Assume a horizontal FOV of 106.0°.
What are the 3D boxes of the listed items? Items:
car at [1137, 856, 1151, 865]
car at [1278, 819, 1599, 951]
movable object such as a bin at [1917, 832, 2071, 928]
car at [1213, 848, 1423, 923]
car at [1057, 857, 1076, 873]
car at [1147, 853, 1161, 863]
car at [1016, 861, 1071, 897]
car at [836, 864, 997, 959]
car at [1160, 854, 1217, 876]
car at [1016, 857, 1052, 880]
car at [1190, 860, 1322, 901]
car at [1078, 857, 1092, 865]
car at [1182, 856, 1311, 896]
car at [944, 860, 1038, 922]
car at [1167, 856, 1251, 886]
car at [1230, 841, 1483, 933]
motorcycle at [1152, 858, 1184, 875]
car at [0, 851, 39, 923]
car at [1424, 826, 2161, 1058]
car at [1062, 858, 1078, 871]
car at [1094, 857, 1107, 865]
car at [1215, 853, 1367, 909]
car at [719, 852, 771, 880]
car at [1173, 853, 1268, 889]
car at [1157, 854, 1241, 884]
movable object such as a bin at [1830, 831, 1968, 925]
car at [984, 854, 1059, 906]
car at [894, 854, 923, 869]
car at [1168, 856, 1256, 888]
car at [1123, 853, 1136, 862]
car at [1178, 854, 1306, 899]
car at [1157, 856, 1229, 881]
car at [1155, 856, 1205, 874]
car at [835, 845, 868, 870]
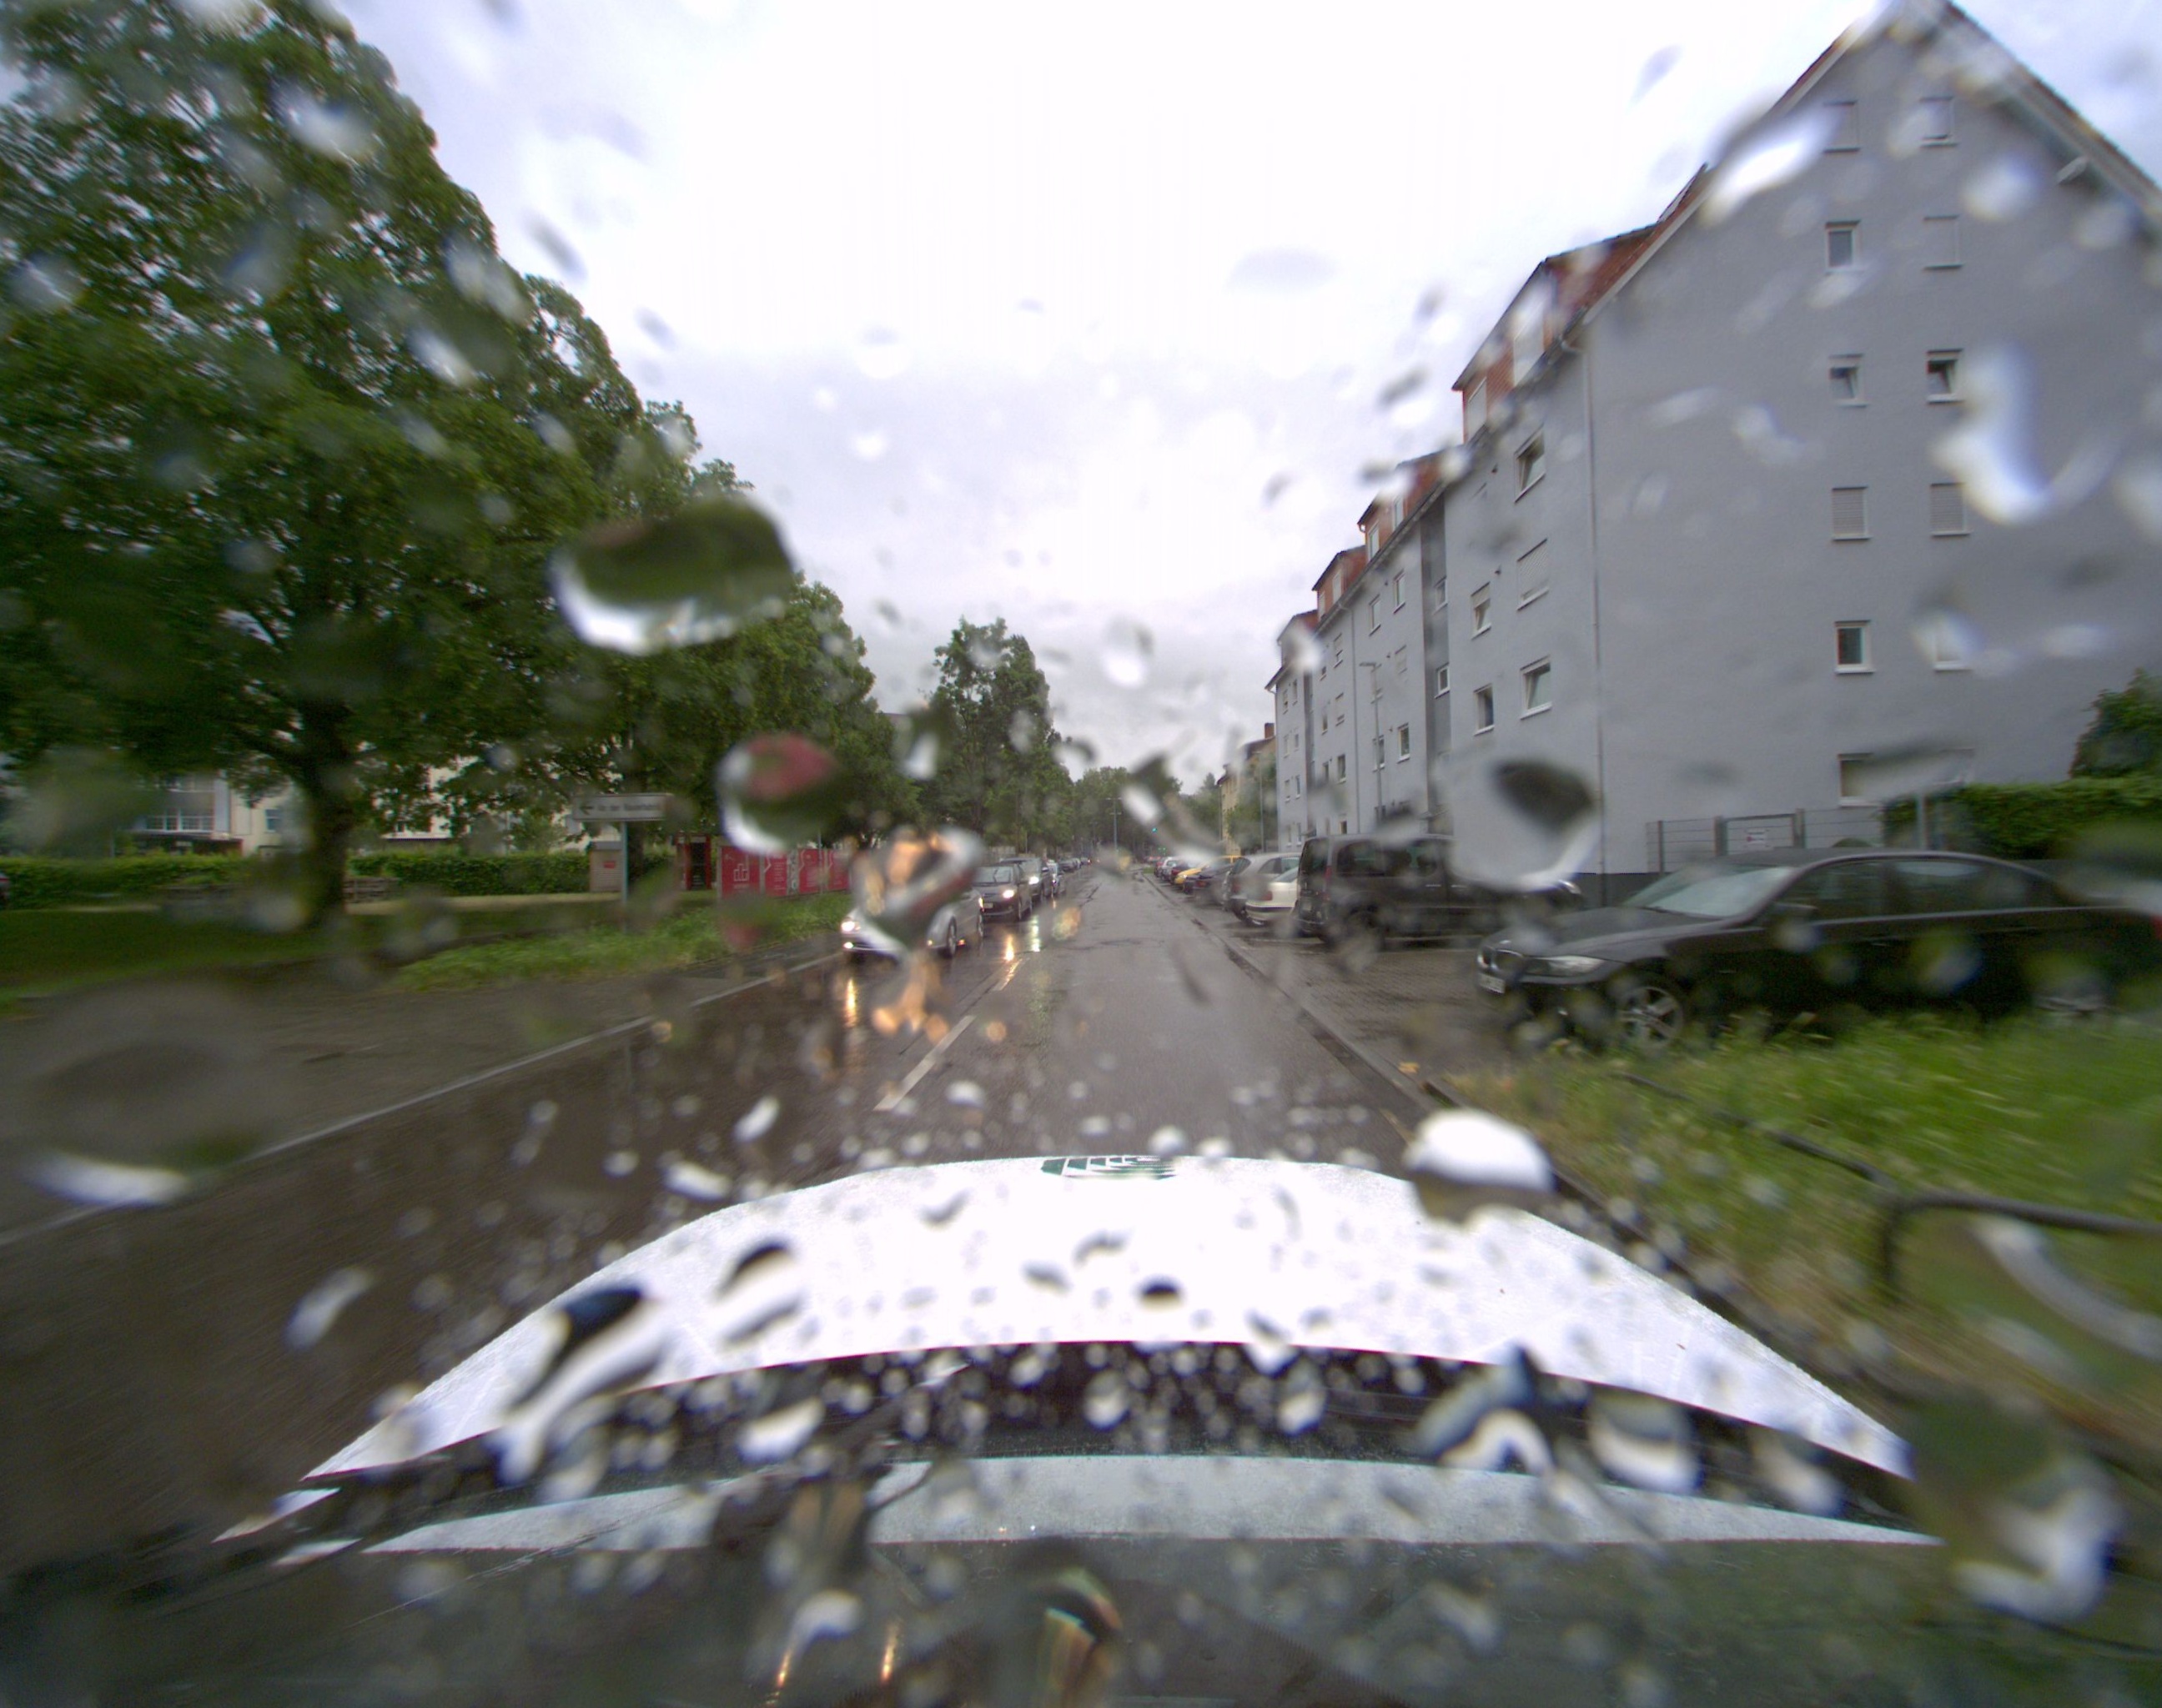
[{"bbox_3d":[11.112,1.094,143.584,1.847,1.524,4.145,-1,0,-6],"label":"car"},{"bbox_3d":[5.493,0.461,12.946,4.219,1.805,1.944,-2,-1,-1],"label":"car"},{"bbox_3d":[13.729,0.380,12.289,1.208,1.377,0.957,-1,0,9],"label":"movable object such as a bin"},{"bbox_3d":[5.150,0.669,18.128,4.166,1.572,1.891,0,-1,1],"label":"car"},{"bbox_3d":[-1.521,1.107,86.067,1.772,1.530,3.995,0,1,-4],"label":"car"},{"bbox_3d":[11.631,0.624,129.358,1.843,1.524,4.000,-1,0,1],"label":"car"},{"bbox_3d":[-1.536,1.011,34.572,1.664,1.383,4.259,-1,0,6],"label":"car"},{"bbox_3d":[-2.702,0.885,14.547,1.768,1.403,4.831,0,-1,1],"label":"car"},{"bbox_3d":[7.787,0.822,59.373,3.973,1.552,1.905,0,-1,1],"label":"car"},{"bbox_3d":[-3.004,0.911,52.366,1.652,1.460,4.180,0,-1,6],"label":"car"},{"bbox_3d":[5.452,0.824,25.784,3.836,1.207,1.958,-1,0,4],"label":"car"},{"bbox_3d":[0.716,1.341,148.827,1.994,1.486,3.985,0,-1,-11],"label":"car"},{"bbox_3d":[6.186,0.825,30.924,4.607,1.436,2.002,0,-1,4],"label":"car"},{"bbox_3d":[-2.273,0.905,21.699,1.771,1.420,4.268,-2,0,3],"label":"car"},{"bbox_3d":[6.445,0.856,41.416,4.079,1.458,2.002,-1,0,4],"label":"car"},{"bbox_3d":[5.093,0.598,15.514,4.175,1.568,1.889,-1,-1,0],"label":"car"},{"bbox_3d":[6.786,0.967,63.875,2.392,1.324,0.919,0,-1,-2],"label":"motorcycle"},{"bbox_3d":[-23.351,0.709,15.781,2.002,1.526,4.399,-1,0,-24],"label":"car"},{"bbox_3d":[5.415,0.611,6.491,4.515,1.470,1.984,-2,-1,2],"label":"car"},{"bbox_3d":[-1.351,1.298,100.882,1.923,1.484,3.999,-1,0,0],"label":"car"},{"bbox_3d":[3.756,1.373,158.776,1.742,1.689,3.982,0,-1,-13],"label":"car"},{"bbox_3d":[5.865,0.742,23.104,3.841,1.454,1.837,-1,0,0],"label":"car"},{"bbox_3d":[-20.506,0.743,49.640,2.009,1.557,3.956,-1,-1,-36],"label":"car"},{"bbox_3d":[6.149,0.757,36.205,3.973,1.552,1.853,0,-1,1],"label":"car"},{"bbox_3d":[6.406,0.814,44.560,4.324,1.552,2.041,0,-1,2],"label":"car"},{"bbox_3d":[12.420,0.356,12.413,1.227,1.377,0.824,-1,0,9],"label":"movable object such as a bin"},{"bbox_3d":[-1.976,0.857,28.542,1.905,1.639,4.827,0,-1,4],"label":"car"},{"bbox_3d":[-16.103,0.699,75.863,1.715,1.434,3.616,0,-1,-29],"label":"car"},{"bbox_3d":[6.191,0.848,38.816,3.971,1.442,1.782,0,-1,2],"label":"car"},{"bbox_3d":[9.437,0.683,158.231,1.847,1.524,3.991,-1,0,-6],"label":"car"},{"bbox_3d":[5.523,0.773,28.326,4.127,1.486,2.014,0,-1,2],"label":"car"},{"bbox_3d":[6.782,0.856,49.515,4.245,1.454,1.989,0,0,8],"label":"car"},{"bbox_3d":[8.060,0.898,66.708,3.970,1.461,1.936,0,-1,3],"label":"car"},{"bbox_3d":[-20.718,0.332,73.299,2.006,2.122,3.962,0,-1,-29],"label":"car"}]
